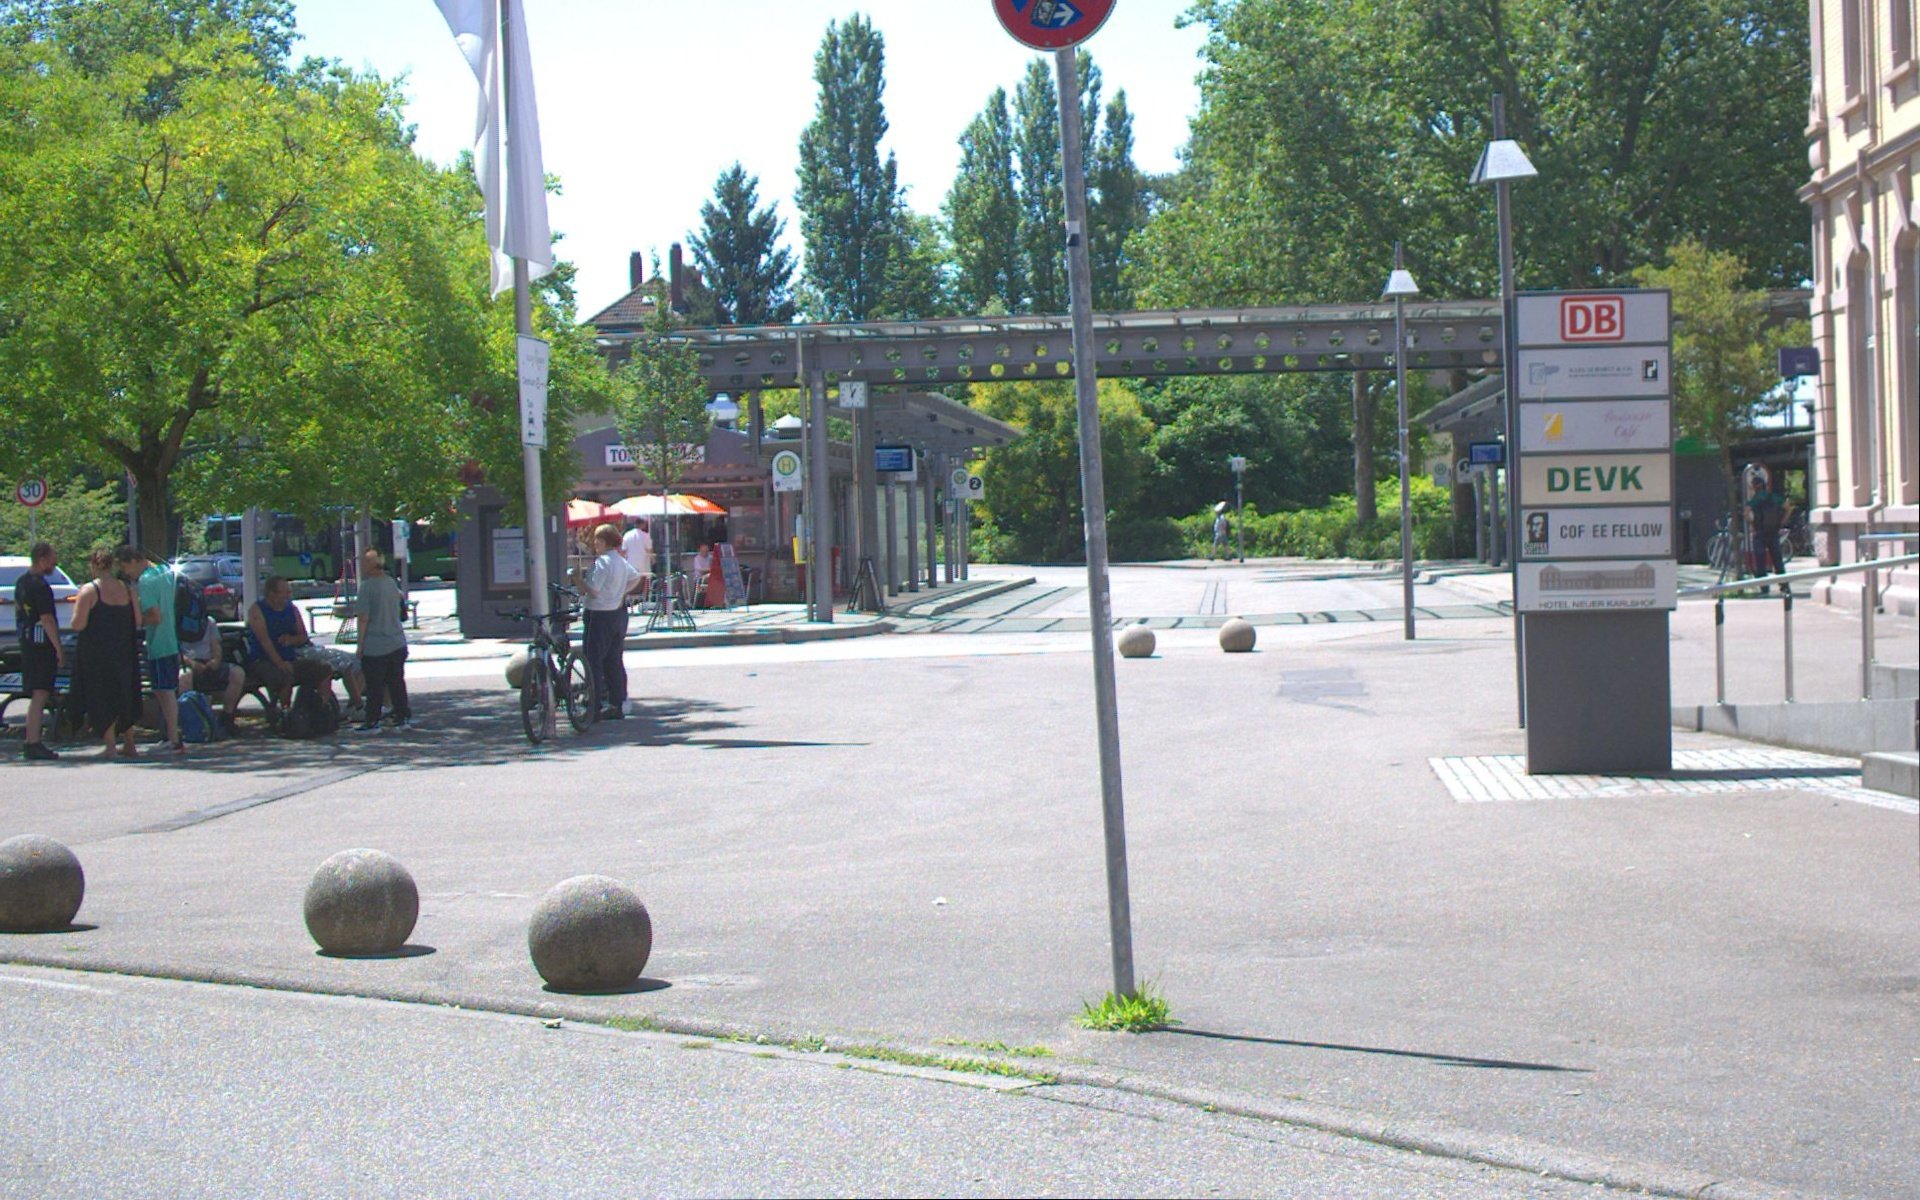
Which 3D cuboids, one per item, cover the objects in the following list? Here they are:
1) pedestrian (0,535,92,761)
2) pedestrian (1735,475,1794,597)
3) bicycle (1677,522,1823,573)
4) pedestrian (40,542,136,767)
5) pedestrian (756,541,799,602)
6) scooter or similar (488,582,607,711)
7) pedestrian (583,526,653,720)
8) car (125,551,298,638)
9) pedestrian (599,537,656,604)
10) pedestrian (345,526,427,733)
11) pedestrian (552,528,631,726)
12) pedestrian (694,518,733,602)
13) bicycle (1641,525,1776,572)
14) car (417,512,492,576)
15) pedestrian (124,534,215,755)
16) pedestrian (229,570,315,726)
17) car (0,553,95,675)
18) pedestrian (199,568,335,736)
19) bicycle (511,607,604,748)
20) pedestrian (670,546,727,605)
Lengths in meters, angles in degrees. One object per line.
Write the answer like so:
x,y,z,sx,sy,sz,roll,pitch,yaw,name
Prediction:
-7.338,0.374,27.458,0.691,1.757,0.585,-2,1,-19,pedestrian
12.062,-0.961,51.539,0.689,1.803,0.631,-1,1,26,pedestrian
16.052,-1.067,69.887,2.787,1.000,0.811,1,1,3,bicycle
-6.859,0.419,27.030,0.625,1.734,0.548,-2,1,-21,pedestrian
-3.628,-0.564,68.405,0.759,1.201,0.737,1,0,5,pedestrian
-3.750,0.421,31.280,1.025,1.135,0.294,-1,1,-3,scooter or similar
-3.021,0.197,30.321,0.553,1.679,0.587,-2,1,-8,pedestrian
-14.341,-0.139,66.151,1.927,1.455,4.725,-4,1,4,car
-6.708,-0.599,69.354,0.892,1.308,0.688,-2,1,-30,pedestrian
-4.893,0.245,29.284,0.510,1.734,0.571,-2,1,-25,pedestrian
-3.189,0.226,29.690,0.617,1.679,0.591,-2,1,-8,pedestrian
-5.205,-0.847,72.587,0.686,1.732,0.707,-1,1,5,pedestrian
16.494,-1.127,75.771,2.787,1.000,0.811,1,1,3,bicycle
-17.763,-1.970,120.600,2.202,2.165,4.883,-2,1,-13,car
-6.325,0.345,27.483,0.583,1.734,0.600,-2,1,-21,pedestrian
-6.149,0.421,30.722,0.597,1.359,0.600,-2,2,-24,pedestrian
-13.906,0.177,49.045,1.982,1.621,4.779,-2,2,-27,car
-5.954,0.433,29.511,0.909,1.381,0.944,-2,1,-25,pedestrian
-3.260,0.610,27.938,0.420,1.056,1.948,-1,1,3,bicycle
-5.257,-0.502,69.131,0.892,1.157,0.688,-2,1,-30,pedestrian
